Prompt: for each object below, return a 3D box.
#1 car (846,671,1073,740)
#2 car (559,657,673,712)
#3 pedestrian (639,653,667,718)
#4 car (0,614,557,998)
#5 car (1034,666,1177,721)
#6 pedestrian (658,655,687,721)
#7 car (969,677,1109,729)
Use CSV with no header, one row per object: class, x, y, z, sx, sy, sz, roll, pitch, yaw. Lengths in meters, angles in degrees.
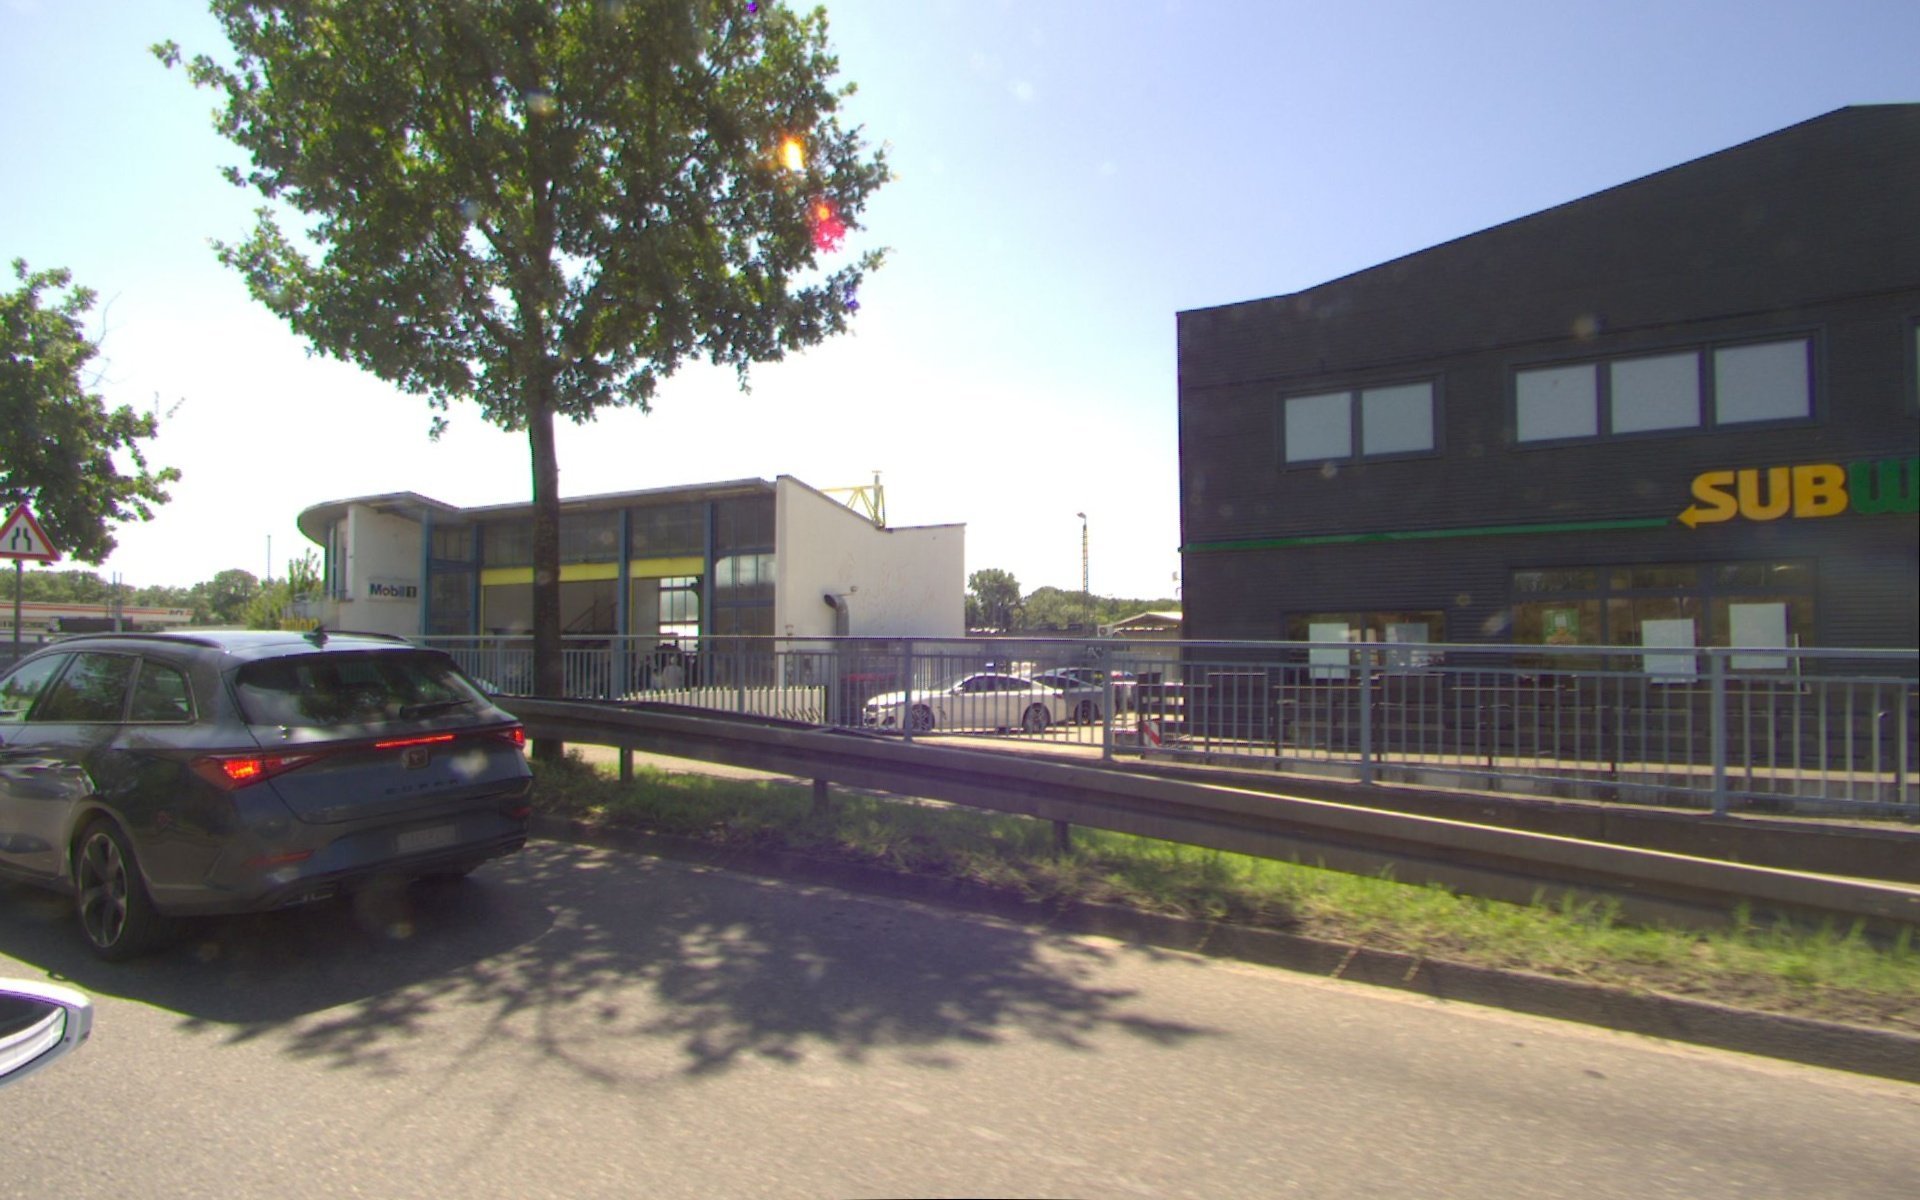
car,-0.003,2.427,23.686,5.001,1.375,1.994,1,-2,-24
car,-11.521,2.791,33.796,1.623,1.705,3.672,-1,-2,22
pedestrian,-8.188,2.272,26.736,0.481,1.724,0.521,-1,-2,28
car,-4.321,0.866,5.601,4.172,1.474,1.603,-1,-2,30
car,4.638,2.924,31.872,4.329,1.578,1.651,1,-2,-24
pedestrian,-7.573,2.310,26.384,0.580,1.724,0.426,-1,-2,27
car,2.164,2.811,27.562,3.549,1.269,1.478,1,-2,-15
